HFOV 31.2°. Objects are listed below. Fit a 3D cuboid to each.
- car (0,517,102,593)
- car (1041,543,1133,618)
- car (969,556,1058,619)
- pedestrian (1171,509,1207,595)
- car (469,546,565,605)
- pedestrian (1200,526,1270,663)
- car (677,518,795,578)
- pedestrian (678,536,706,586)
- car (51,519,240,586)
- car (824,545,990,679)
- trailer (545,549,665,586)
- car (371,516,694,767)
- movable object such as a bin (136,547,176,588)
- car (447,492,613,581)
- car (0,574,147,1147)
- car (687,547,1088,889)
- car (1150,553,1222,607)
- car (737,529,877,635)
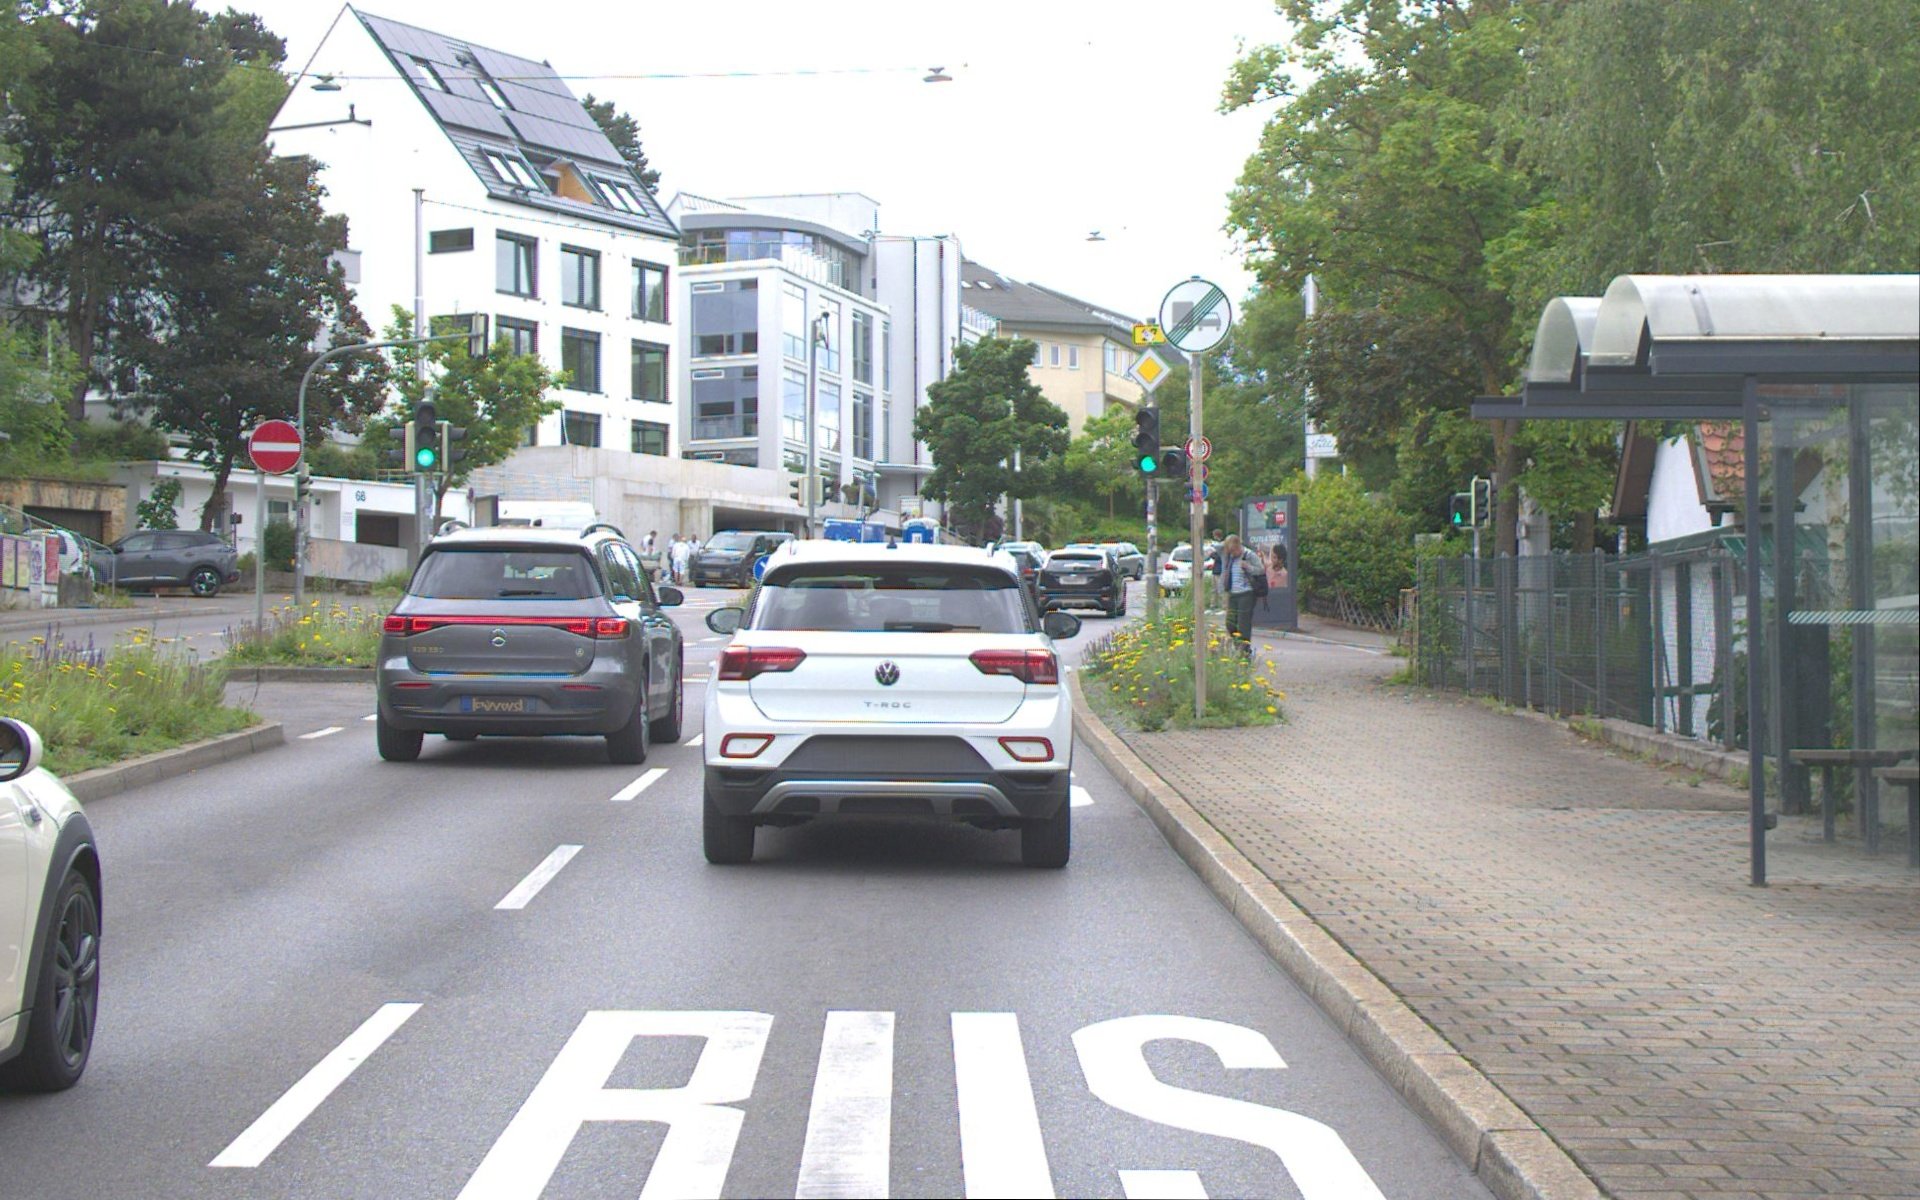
[{"bbox_3d":[-20.172,-0.987,74.654,2.701,1.515,1.564,3,0,-24],"label":"car"},{"bbox_3d":[2.787,-0.449,75.253,1.873,1.496,4.555,3,1,2],"label":"car"},{"bbox_3d":[1.345,-0.325,85.381,1.858,1.495,4.055,-1,1,6],"label":"car"},{"bbox_3d":[4.948,-1.038,74.324,0.693,1.827,0.620,1,1,7],"label":"pedestrian"},{"bbox_3d":[-10.868,-0.620,84.538,1.717,1.388,4.609,0,1,1],"label":"car"},{"bbox_3d":[3.422,-0.071,42.699,0.694,1.683,0.619,-1,0,21],"label":"pedestrian"},{"bbox_3d":[-7.431,-1.744,114.755,1.984,1.960,5.213,0,1,20],"label":"car"},{"bbox_3d":[-9.035,-1.311,115.939,0.674,1.634,0.672,1,1,-33],"label":"pedestrian"},{"bbox_3d":[-18.747,-1.099,79.236,4.118,1.534,1.599,0,1,-9],"label":"car"},{"bbox_3d":[-0.611,0.110,43.258,1.873,1.496,4.555,3,1,1],"label":"car"},{"bbox_3d":[-11.102,-1.025,107.817,2.248,1.108,4.619,0,1,15],"label":"trailer"},{"bbox_3d":[-3.015,0.238,25.152,1.813,1.646,4.636,-1,1,-1],"label":"car"},{"bbox_3d":[-20.178,-0.815,86.266,0.640,1.008,0.729,2,1,35],"label":"movable object such as a bin"},{"bbox_3d":[-12.680,-1.878,102.001,2.233,2.559,7.417,0,1,15],"label":"car"},{"bbox_3d":[-3.177,0.659,8.064,1.628,1.388,3.566,-1,1,1],"label":"car"},{"bbox_3d":[-0.404,0.508,17.518,1.811,1.534,3.690,-1,1,-2],"label":"car"},{"bbox_3d":[6.561,-0.596,99.479,1.858,1.495,4.055,-1,1,7],"label":"car"},{"bbox_3d":[-2.462,-0.317,56.409,1.858,1.646,4.636,-1,1,3],"label":"car"}]
